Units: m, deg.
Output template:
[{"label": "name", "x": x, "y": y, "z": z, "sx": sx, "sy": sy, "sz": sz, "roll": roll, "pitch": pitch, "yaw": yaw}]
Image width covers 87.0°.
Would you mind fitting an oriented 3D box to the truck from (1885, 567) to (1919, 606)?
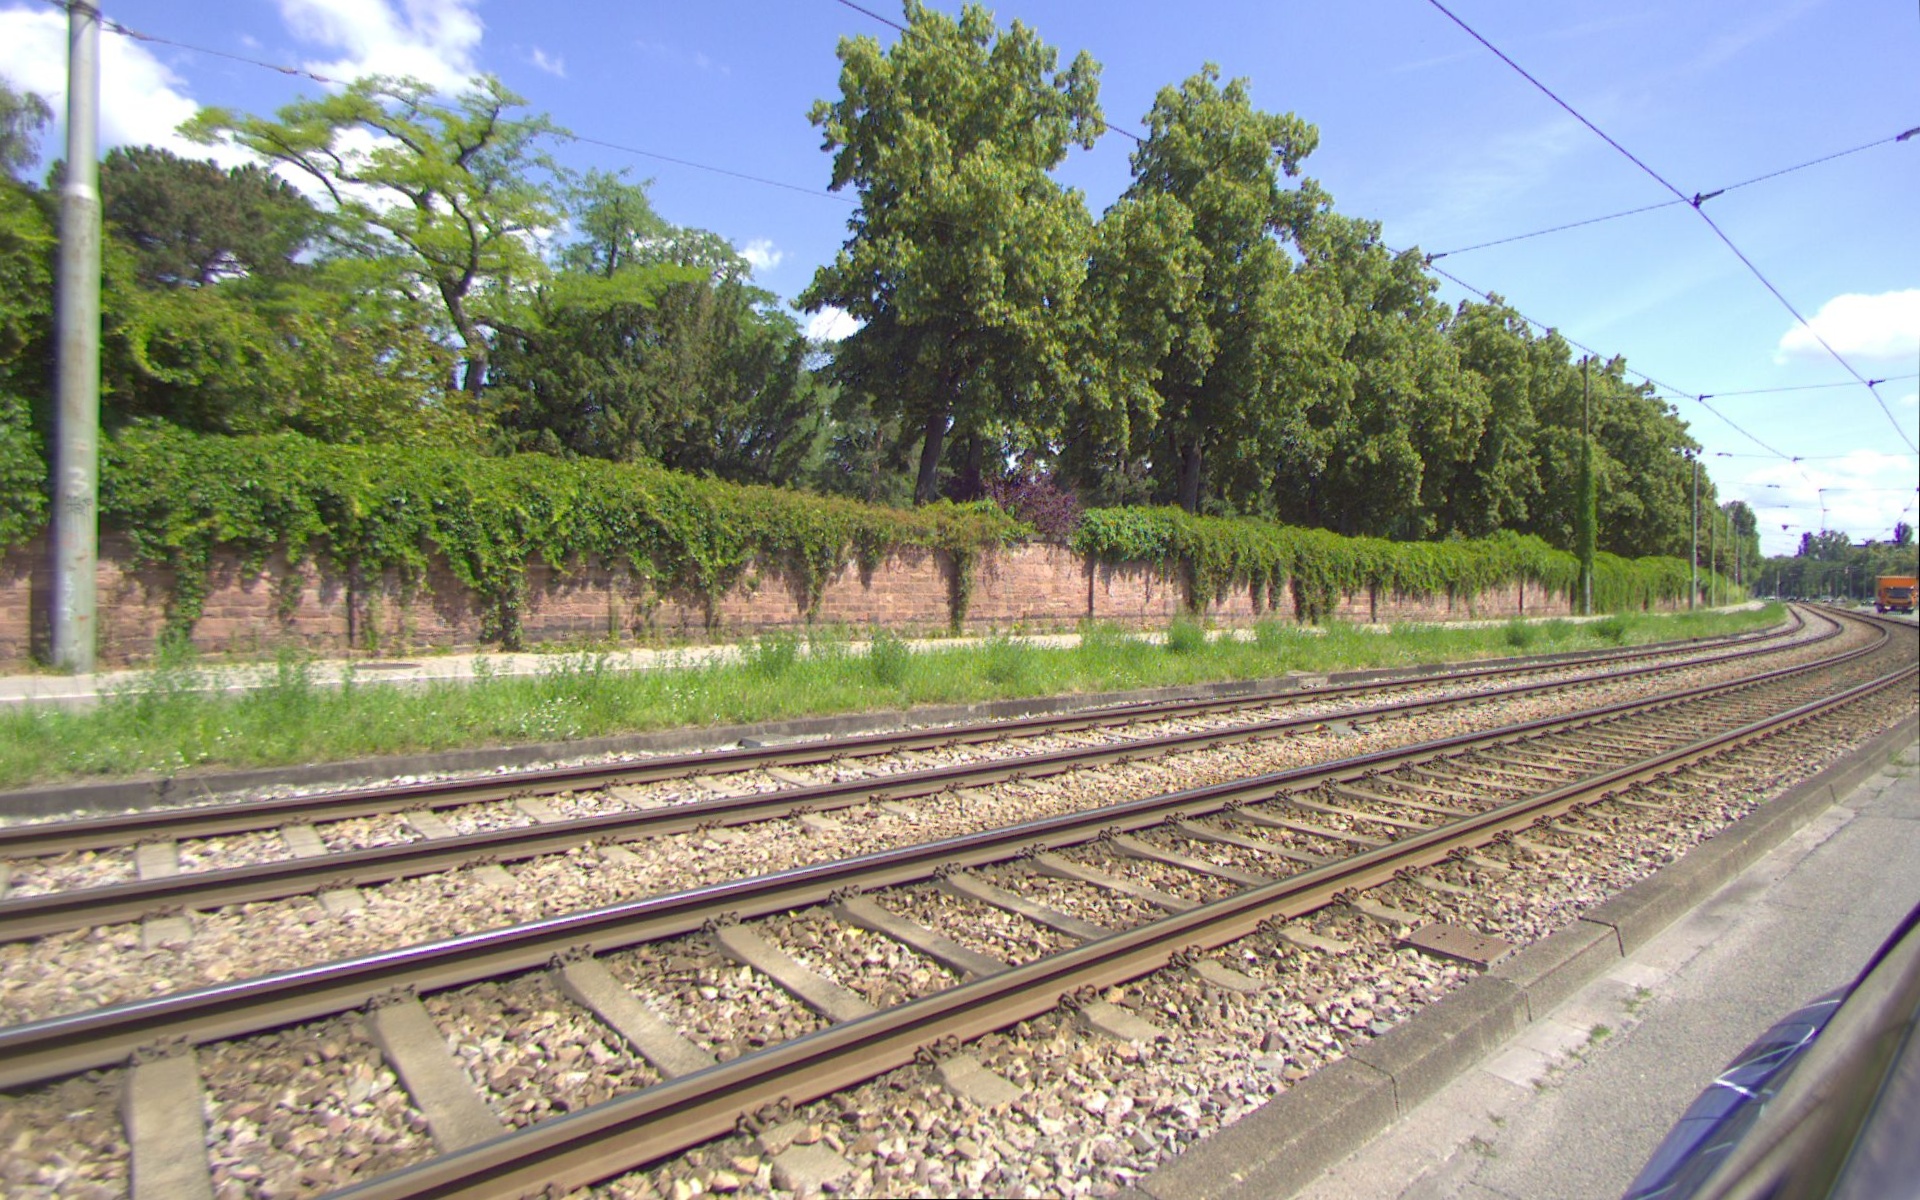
[{"label": "truck", "x": 90.622, "y": -1.327, "z": 96.852, "sx": 2.836, "sy": 3.640, "sz": 8.576, "roll": 1, "pitch": 1, "yaw": 41}]
